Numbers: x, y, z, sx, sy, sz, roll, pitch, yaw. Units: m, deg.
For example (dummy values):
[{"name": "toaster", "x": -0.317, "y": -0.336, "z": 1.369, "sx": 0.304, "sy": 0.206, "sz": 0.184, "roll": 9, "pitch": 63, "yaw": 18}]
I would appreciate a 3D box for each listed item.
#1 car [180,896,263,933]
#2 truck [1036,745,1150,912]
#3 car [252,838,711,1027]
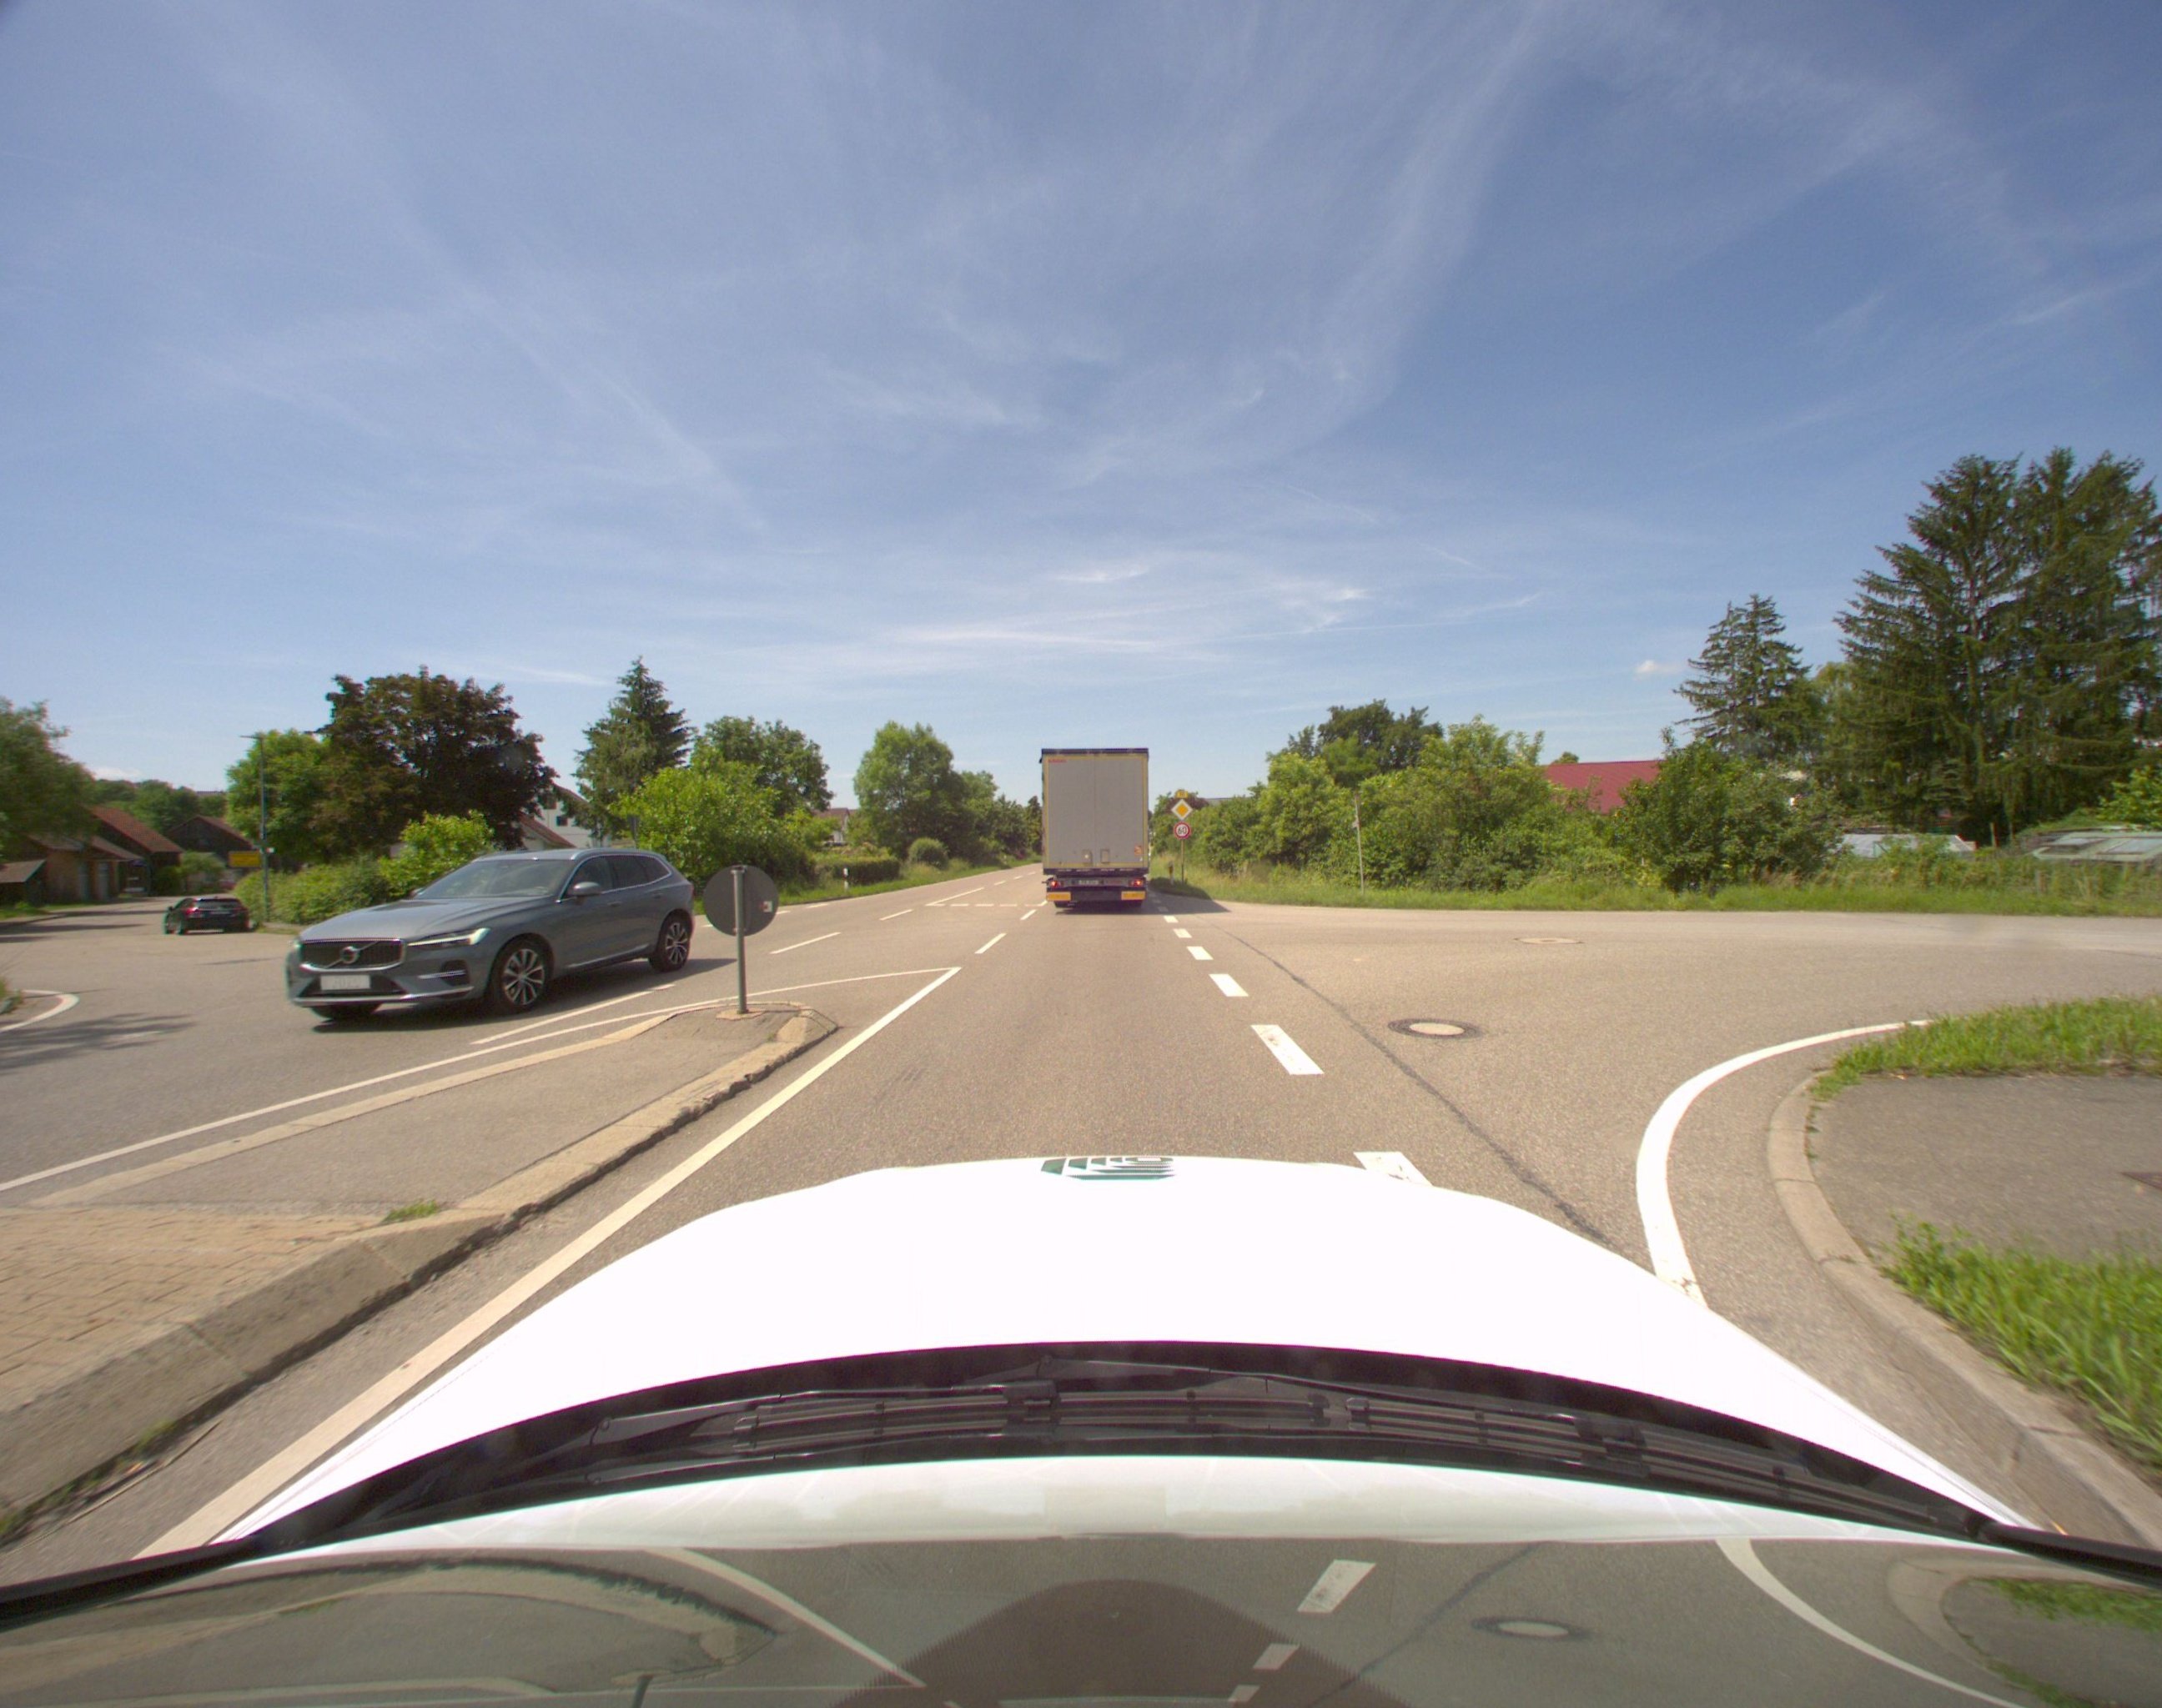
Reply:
[{"name": "car", "x": -34.828, "y": 2.421, "z": 32.966, "sx": 3.948, "sy": 1.357, "sz": 1.809, "roll": -2, "pitch": -2, "yaw": 36}, {"name": "truck", "x": 0.312, "y": -0.675, "z": 23.710, "sx": 2.639, "sy": 3.916, "sz": 8.825, "roll": -1, "pitch": 1, "yaw": 0}, {"name": "car", "x": -6.408, "y": 0.688, "z": 9.545, "sx": 1.941, "sy": 1.654, "sz": 4.434, "roll": -1, "pitch": 0, "yaw": 2}]
